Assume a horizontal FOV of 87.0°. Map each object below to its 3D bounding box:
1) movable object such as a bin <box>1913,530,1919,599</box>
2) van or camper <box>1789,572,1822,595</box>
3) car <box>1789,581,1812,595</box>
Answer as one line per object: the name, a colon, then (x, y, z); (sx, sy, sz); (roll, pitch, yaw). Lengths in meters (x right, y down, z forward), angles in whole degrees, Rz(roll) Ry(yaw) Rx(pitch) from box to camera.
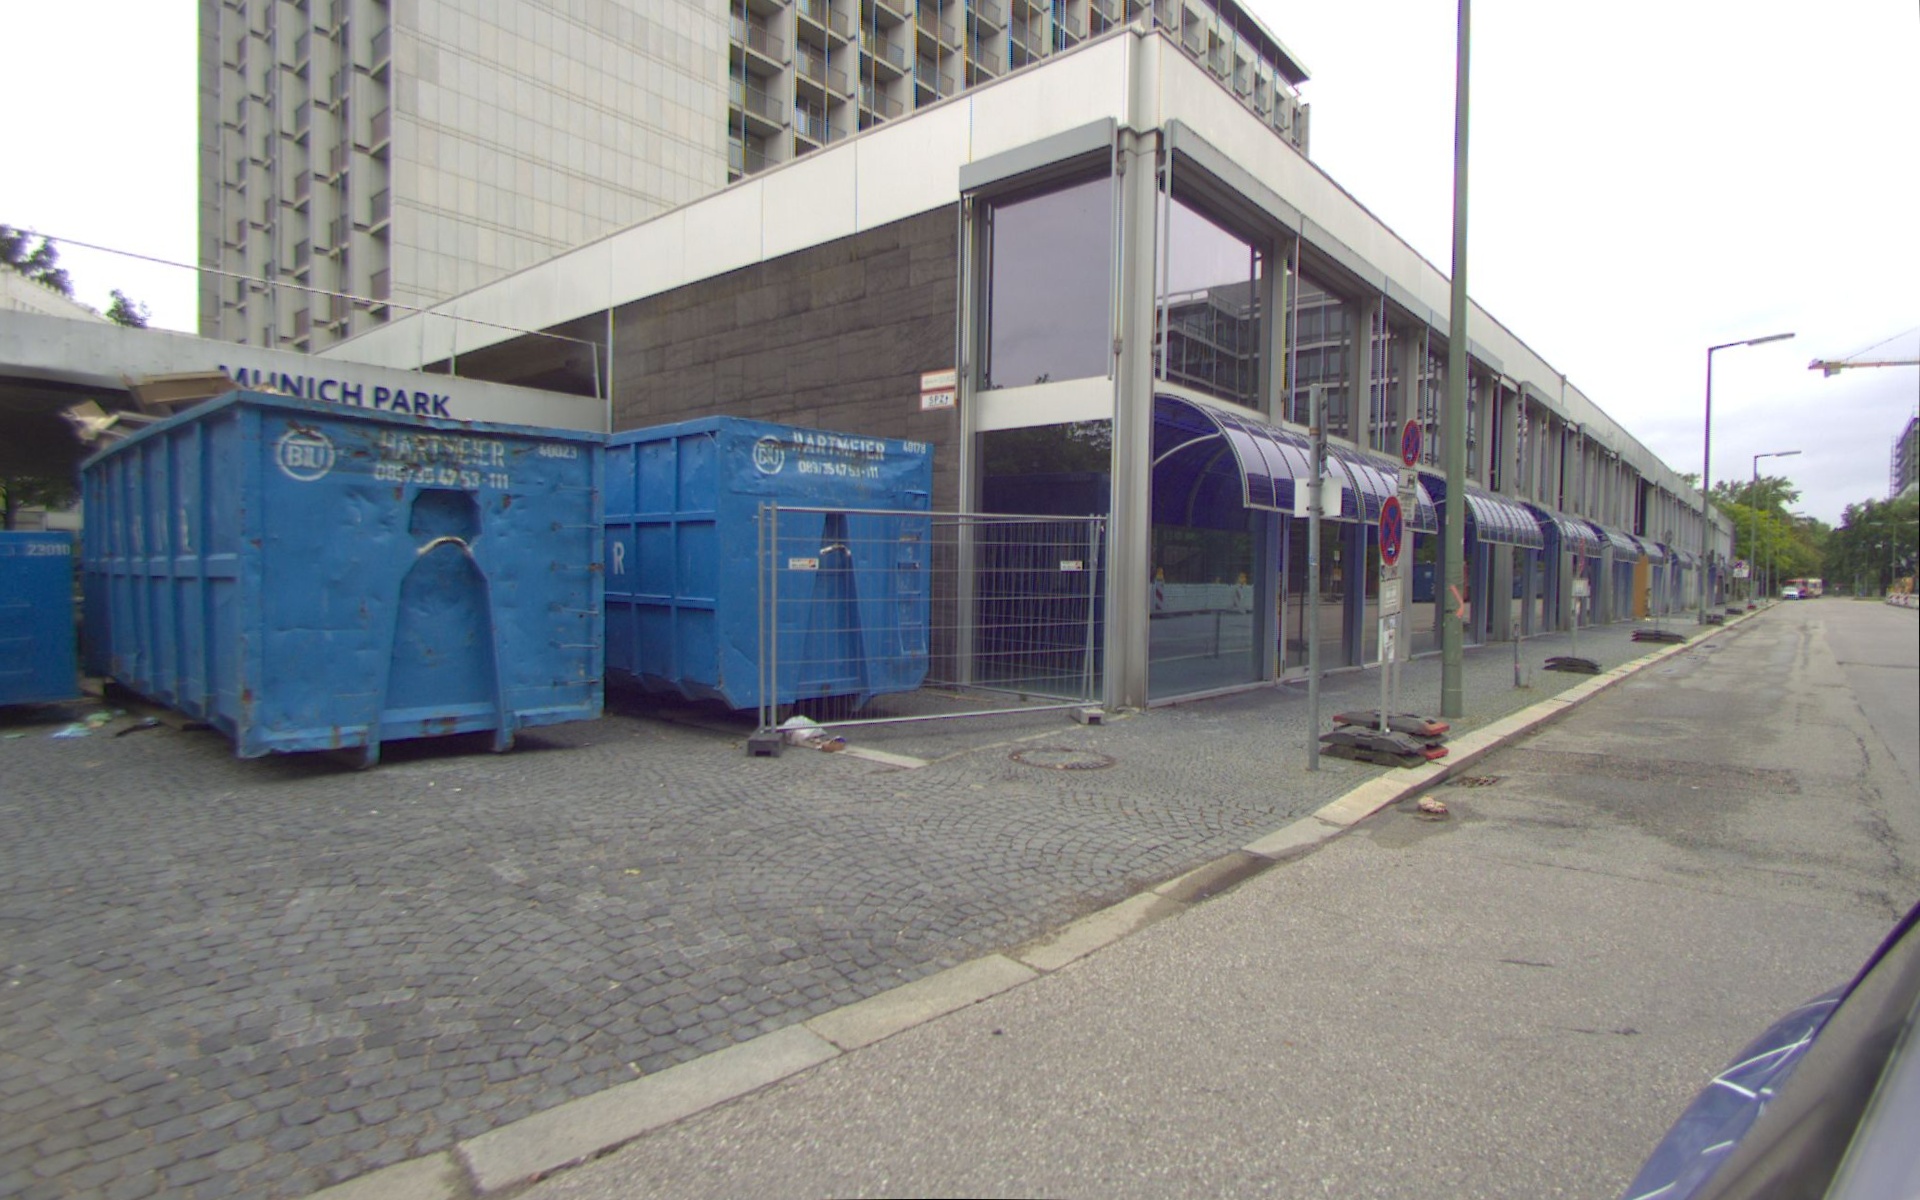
movable object such as a bin: (92.832, -3.280, 96.029); (3.234, 6.400, 8.207); (2, 2, 43)
van or camper: (105.995, -2.075, 126.845); (2.661, 2.801, 6.806); (3, 2, 44)
car: (101.692, -1.424, 122.396); (1.907, 1.657, 3.939); (3, 2, 42)
